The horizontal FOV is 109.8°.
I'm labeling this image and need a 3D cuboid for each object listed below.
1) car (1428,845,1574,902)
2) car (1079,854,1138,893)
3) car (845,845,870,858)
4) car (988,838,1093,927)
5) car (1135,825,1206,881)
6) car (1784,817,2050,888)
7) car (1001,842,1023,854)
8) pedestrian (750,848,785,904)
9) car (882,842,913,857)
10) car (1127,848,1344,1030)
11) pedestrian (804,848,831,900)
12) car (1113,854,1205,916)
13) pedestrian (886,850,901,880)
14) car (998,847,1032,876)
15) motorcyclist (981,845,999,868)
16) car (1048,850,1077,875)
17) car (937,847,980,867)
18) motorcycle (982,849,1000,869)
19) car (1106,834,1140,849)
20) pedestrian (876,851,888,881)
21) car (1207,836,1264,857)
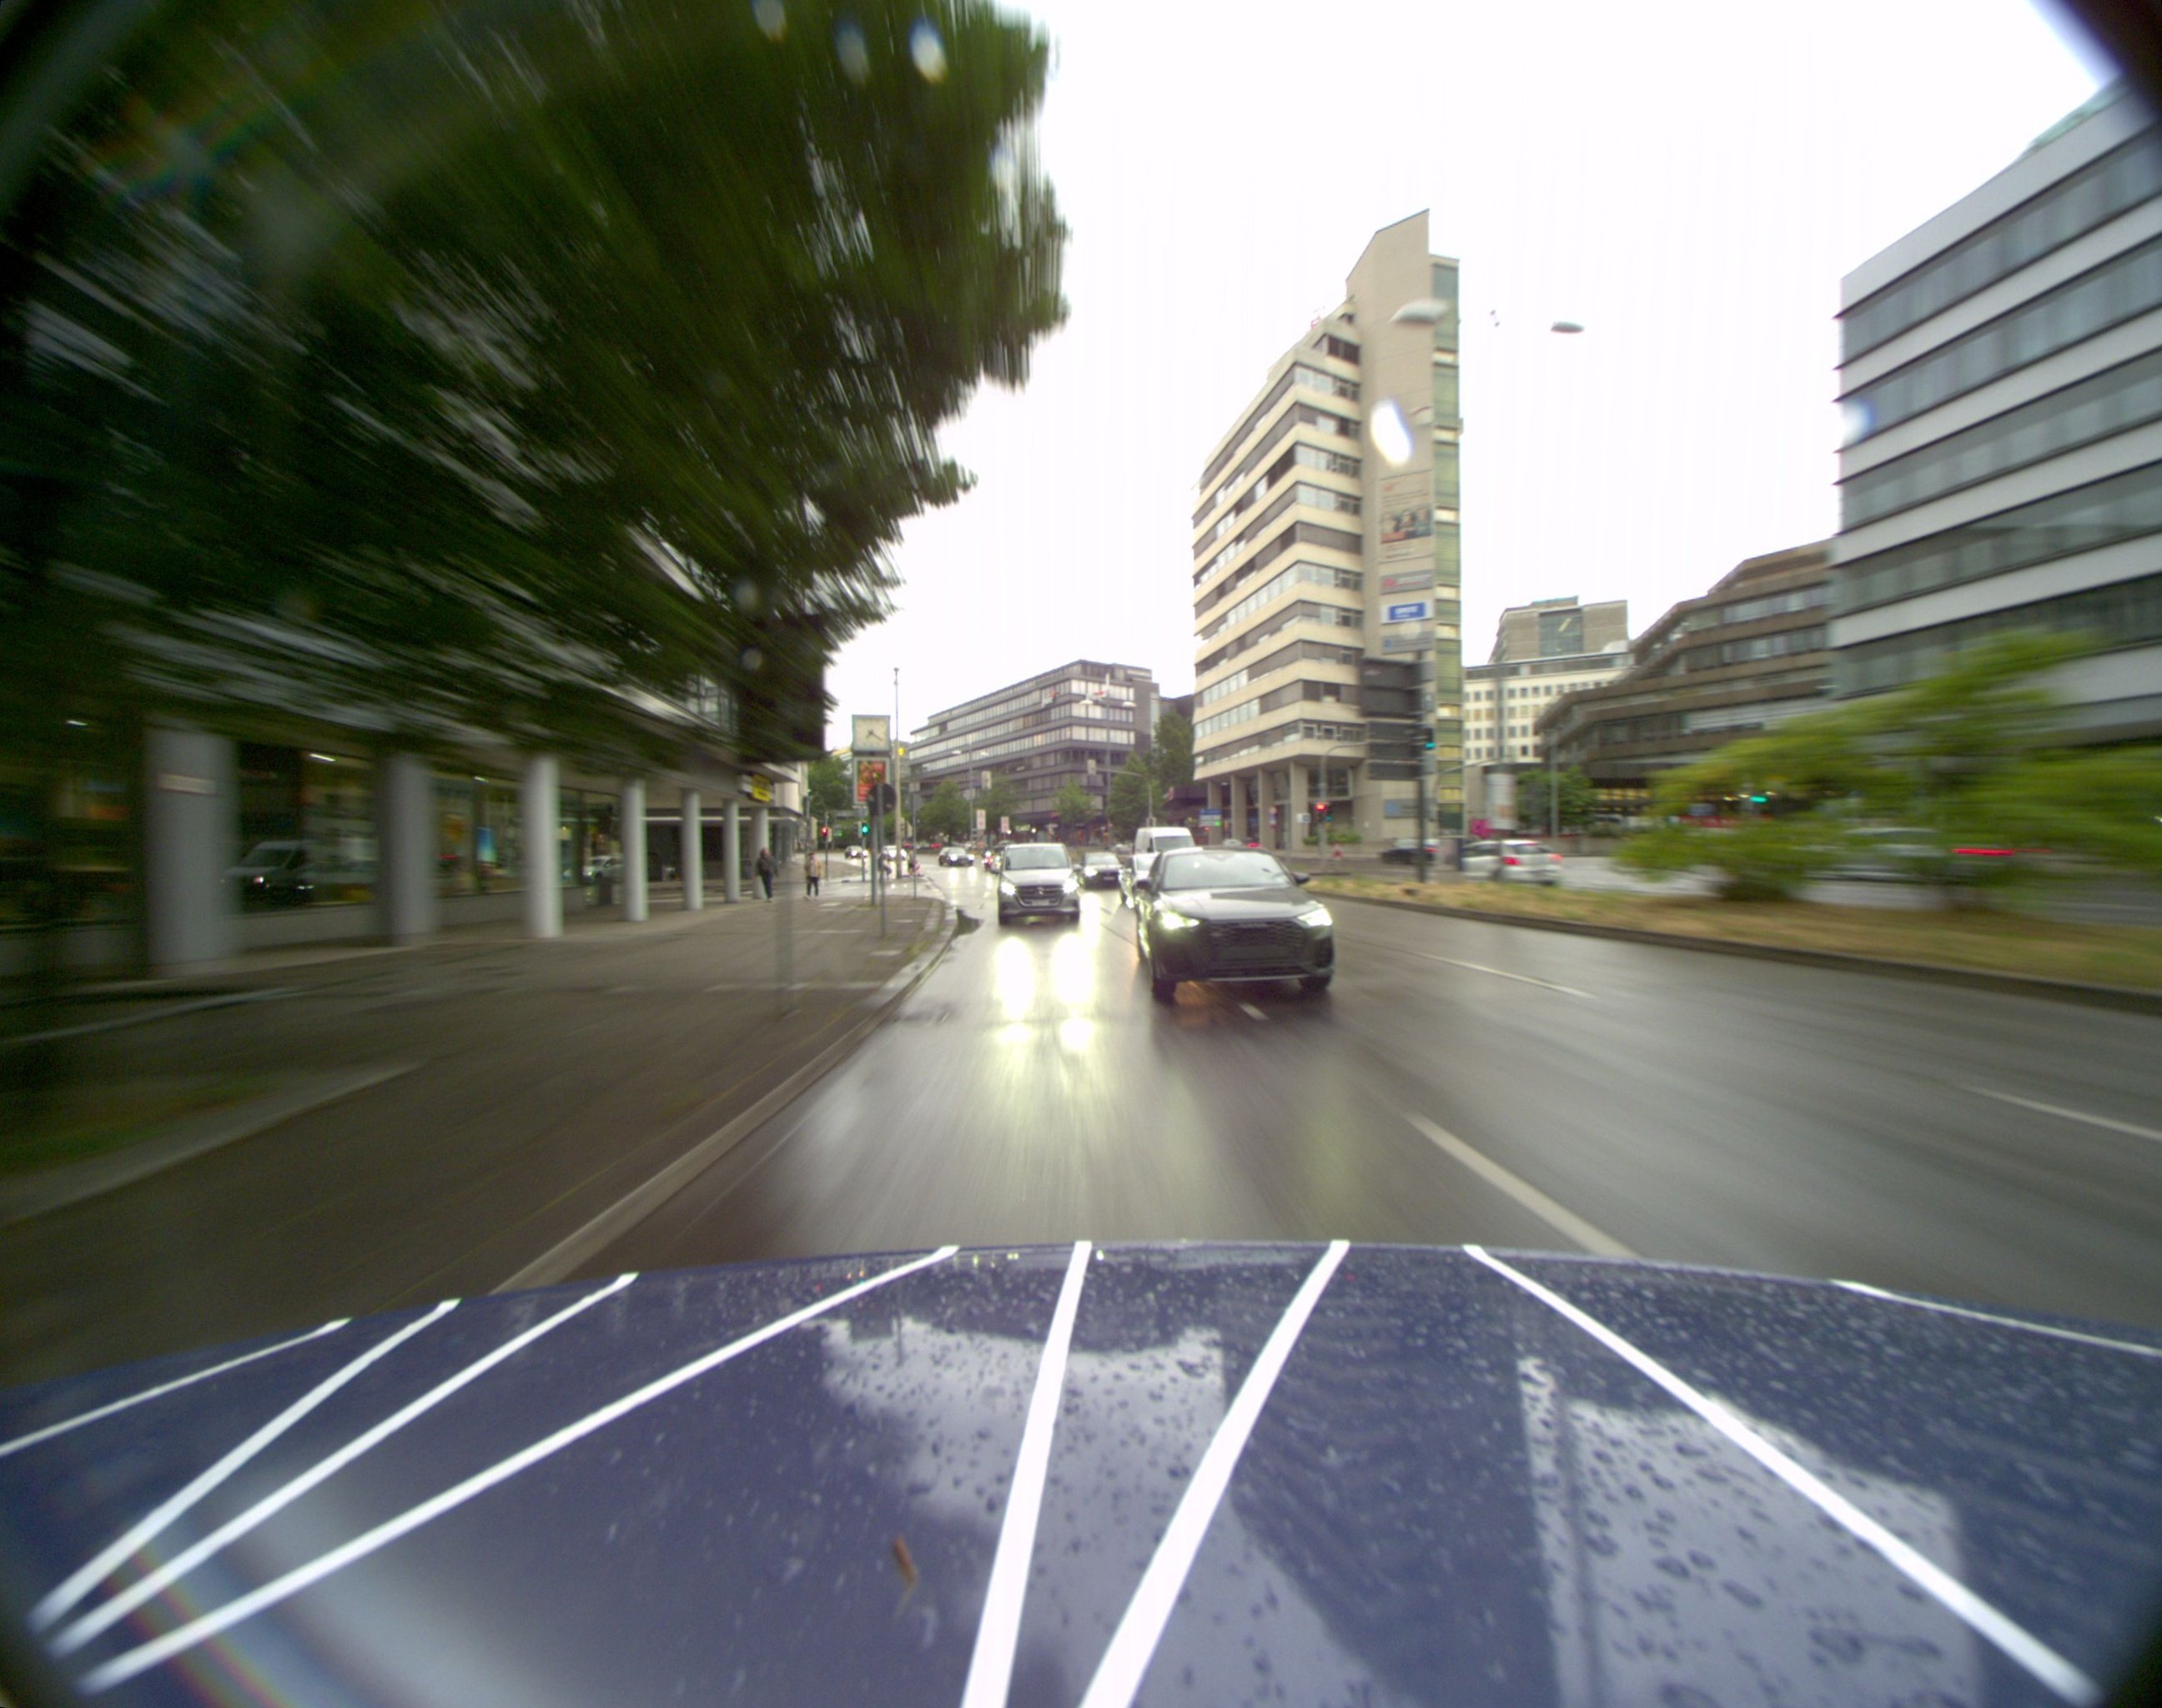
[{"bbox_3d":[12.264,0.506,22.499,1.757,1.456,3.967,-2,2,-8],"label":"car"},{"bbox_3d":[1.068,0.753,31.884,1.905,1.393,4.238,-2,2,-6],"label":"car"},{"bbox_3d":[-26.532,-0.303,90.137,1.896,1.478,3.990,-3,2,-32],"label":"car"},{"bbox_3d":[-0.858,0.586,19.430,2.059,1.881,5.049,-2,2,4],"label":"car"},{"bbox_3d":[4.083,-0.107,35.606,2.260,2.372,5.716,-2,2,-4],"label":"car"},{"bbox_3d":[21.902,-0.034,20.242,1.999,1.608,4.480,-2,0,-4],"label":"car"},{"bbox_3d":[-9.158,-0.834,100.541,1.745,1.456,3.991,-2,2,-23],"label":"car"},{"bbox_3d":[-10.211,0.694,24.774,0.794,1.772,0.894,-2,0,-7],"label":"pedestrian"},{"bbox_3d":[-18.986,-0.472,78.362,1.896,1.478,3.990,-3,2,-32],"label":"car"},{"bbox_3d":[1.552,0.772,9.178,1.802,1.543,4.387,-2,2,1],"label":"car"},{"bbox_3d":[-9.329,0.704,26.895,0.641,1.772,0.880,-2,0,-4],"label":"pedestrian"},{"bbox_3d":[2.130,0.804,22.002,1.775,1.470,4.124,-2,2,-7],"label":"car"},{"bbox_3d":[-10.189,0.602,41.380,0.654,1.589,1.057,-2,2,-9],"label":"pedestrian"},{"bbox_3d":[-3.857,0.378,43.875,1.691,1.478,3.996,-2,2,-8],"label":"car"},{"bbox_3d":[-6.163,0.180,51.549,1.152,1.502,1.196,-2,2,-8],"label":"motorcyclist"},{"bbox_3d":[-1.197,0.539,50.589,1.784,1.499,3.998,-2,2,-1],"label":"car"},{"bbox_3d":[-9.854,0.193,61.002,1.896,1.478,3.989,-3,2,-33],"label":"car"},{"bbox_3d":[-6.169,0.321,51.752,1.130,1.259,3.371,-2,2,-7],"label":"motorcycle"},{"bbox_3d":[4.452,-1.296,80.883,1.790,1.509,5.244,-2,2,-18],"label":"car"},{"bbox_3d":[-10.794,0.645,41.272,0.527,1.589,0.730,-2,2,-9],"label":"pedestrian"},{"bbox_3d":[12.460,-0.587,61.737,2.002,1.576,5.159,-2,2,-23],"label":"car"}]
